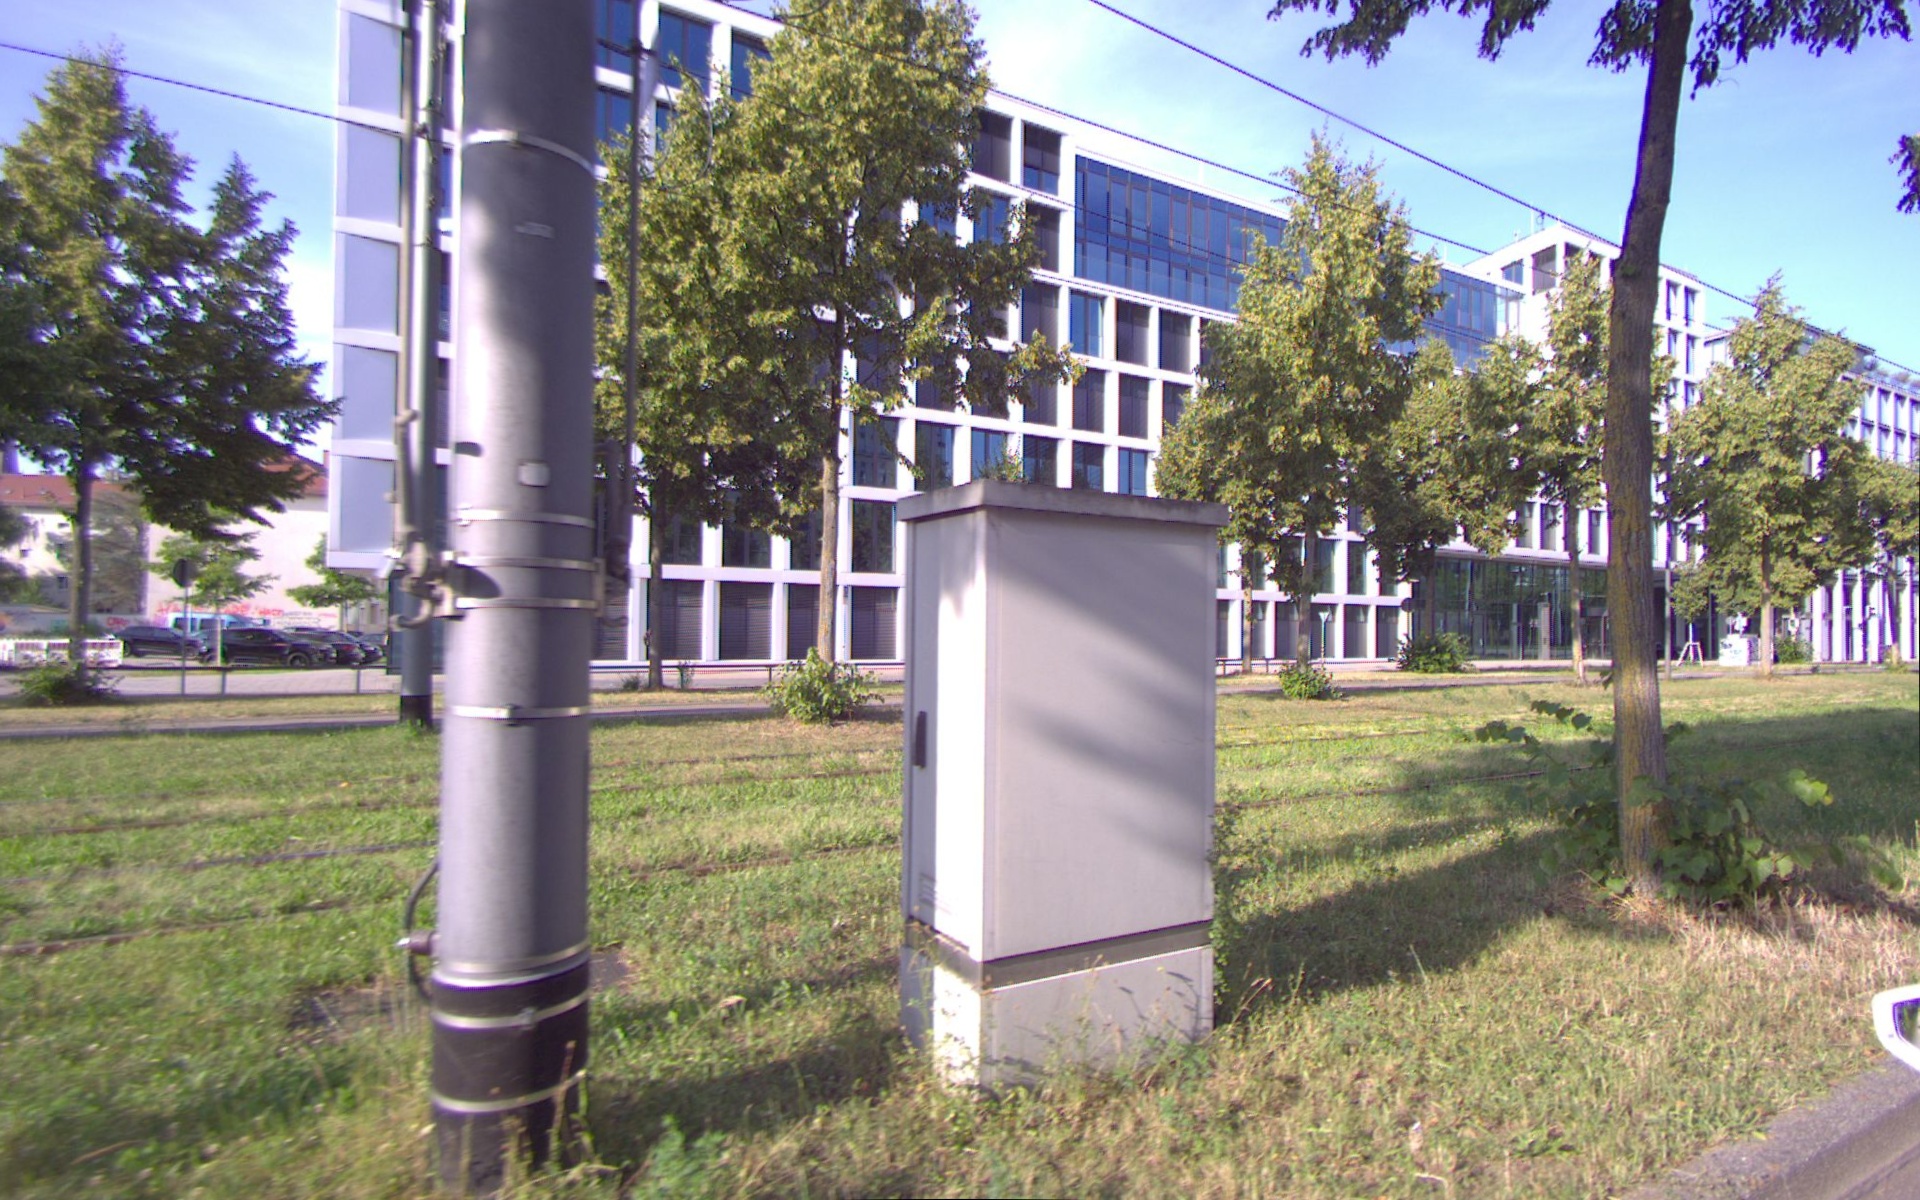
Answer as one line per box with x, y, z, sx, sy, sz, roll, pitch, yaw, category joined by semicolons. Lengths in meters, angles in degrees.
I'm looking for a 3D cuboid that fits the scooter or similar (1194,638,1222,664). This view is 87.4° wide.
11.998;2.461;48.513;1.278;1.242;0.335;2;0;-17;scooter or similar

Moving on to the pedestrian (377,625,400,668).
-22.780;1.848;40.032;0.622;1.652;0.591;2;4;-6;pedestrian

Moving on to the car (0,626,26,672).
-35.643;1.673;35.156;3.937;1.578;1.683;2;0;-18;car

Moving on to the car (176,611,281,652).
-41.731;1.785;57.389;4.423;2.187;1.848;2;0;-18;car

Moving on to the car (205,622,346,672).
-25.669;1.762;37.828;3.933;1.694;1.855;2;0;-14;car

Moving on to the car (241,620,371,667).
-26.231;1.736;40.448;3.933;1.694;1.855;2;0;-14;car

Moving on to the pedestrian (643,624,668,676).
-10.599;1.738;34.957;0.683;1.751;0.565;2;0;-30;pedestrian

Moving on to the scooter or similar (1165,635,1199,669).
10.418;2.414;47.180;0.409;1.496;1.922;2;0;-25;scooter or similar
